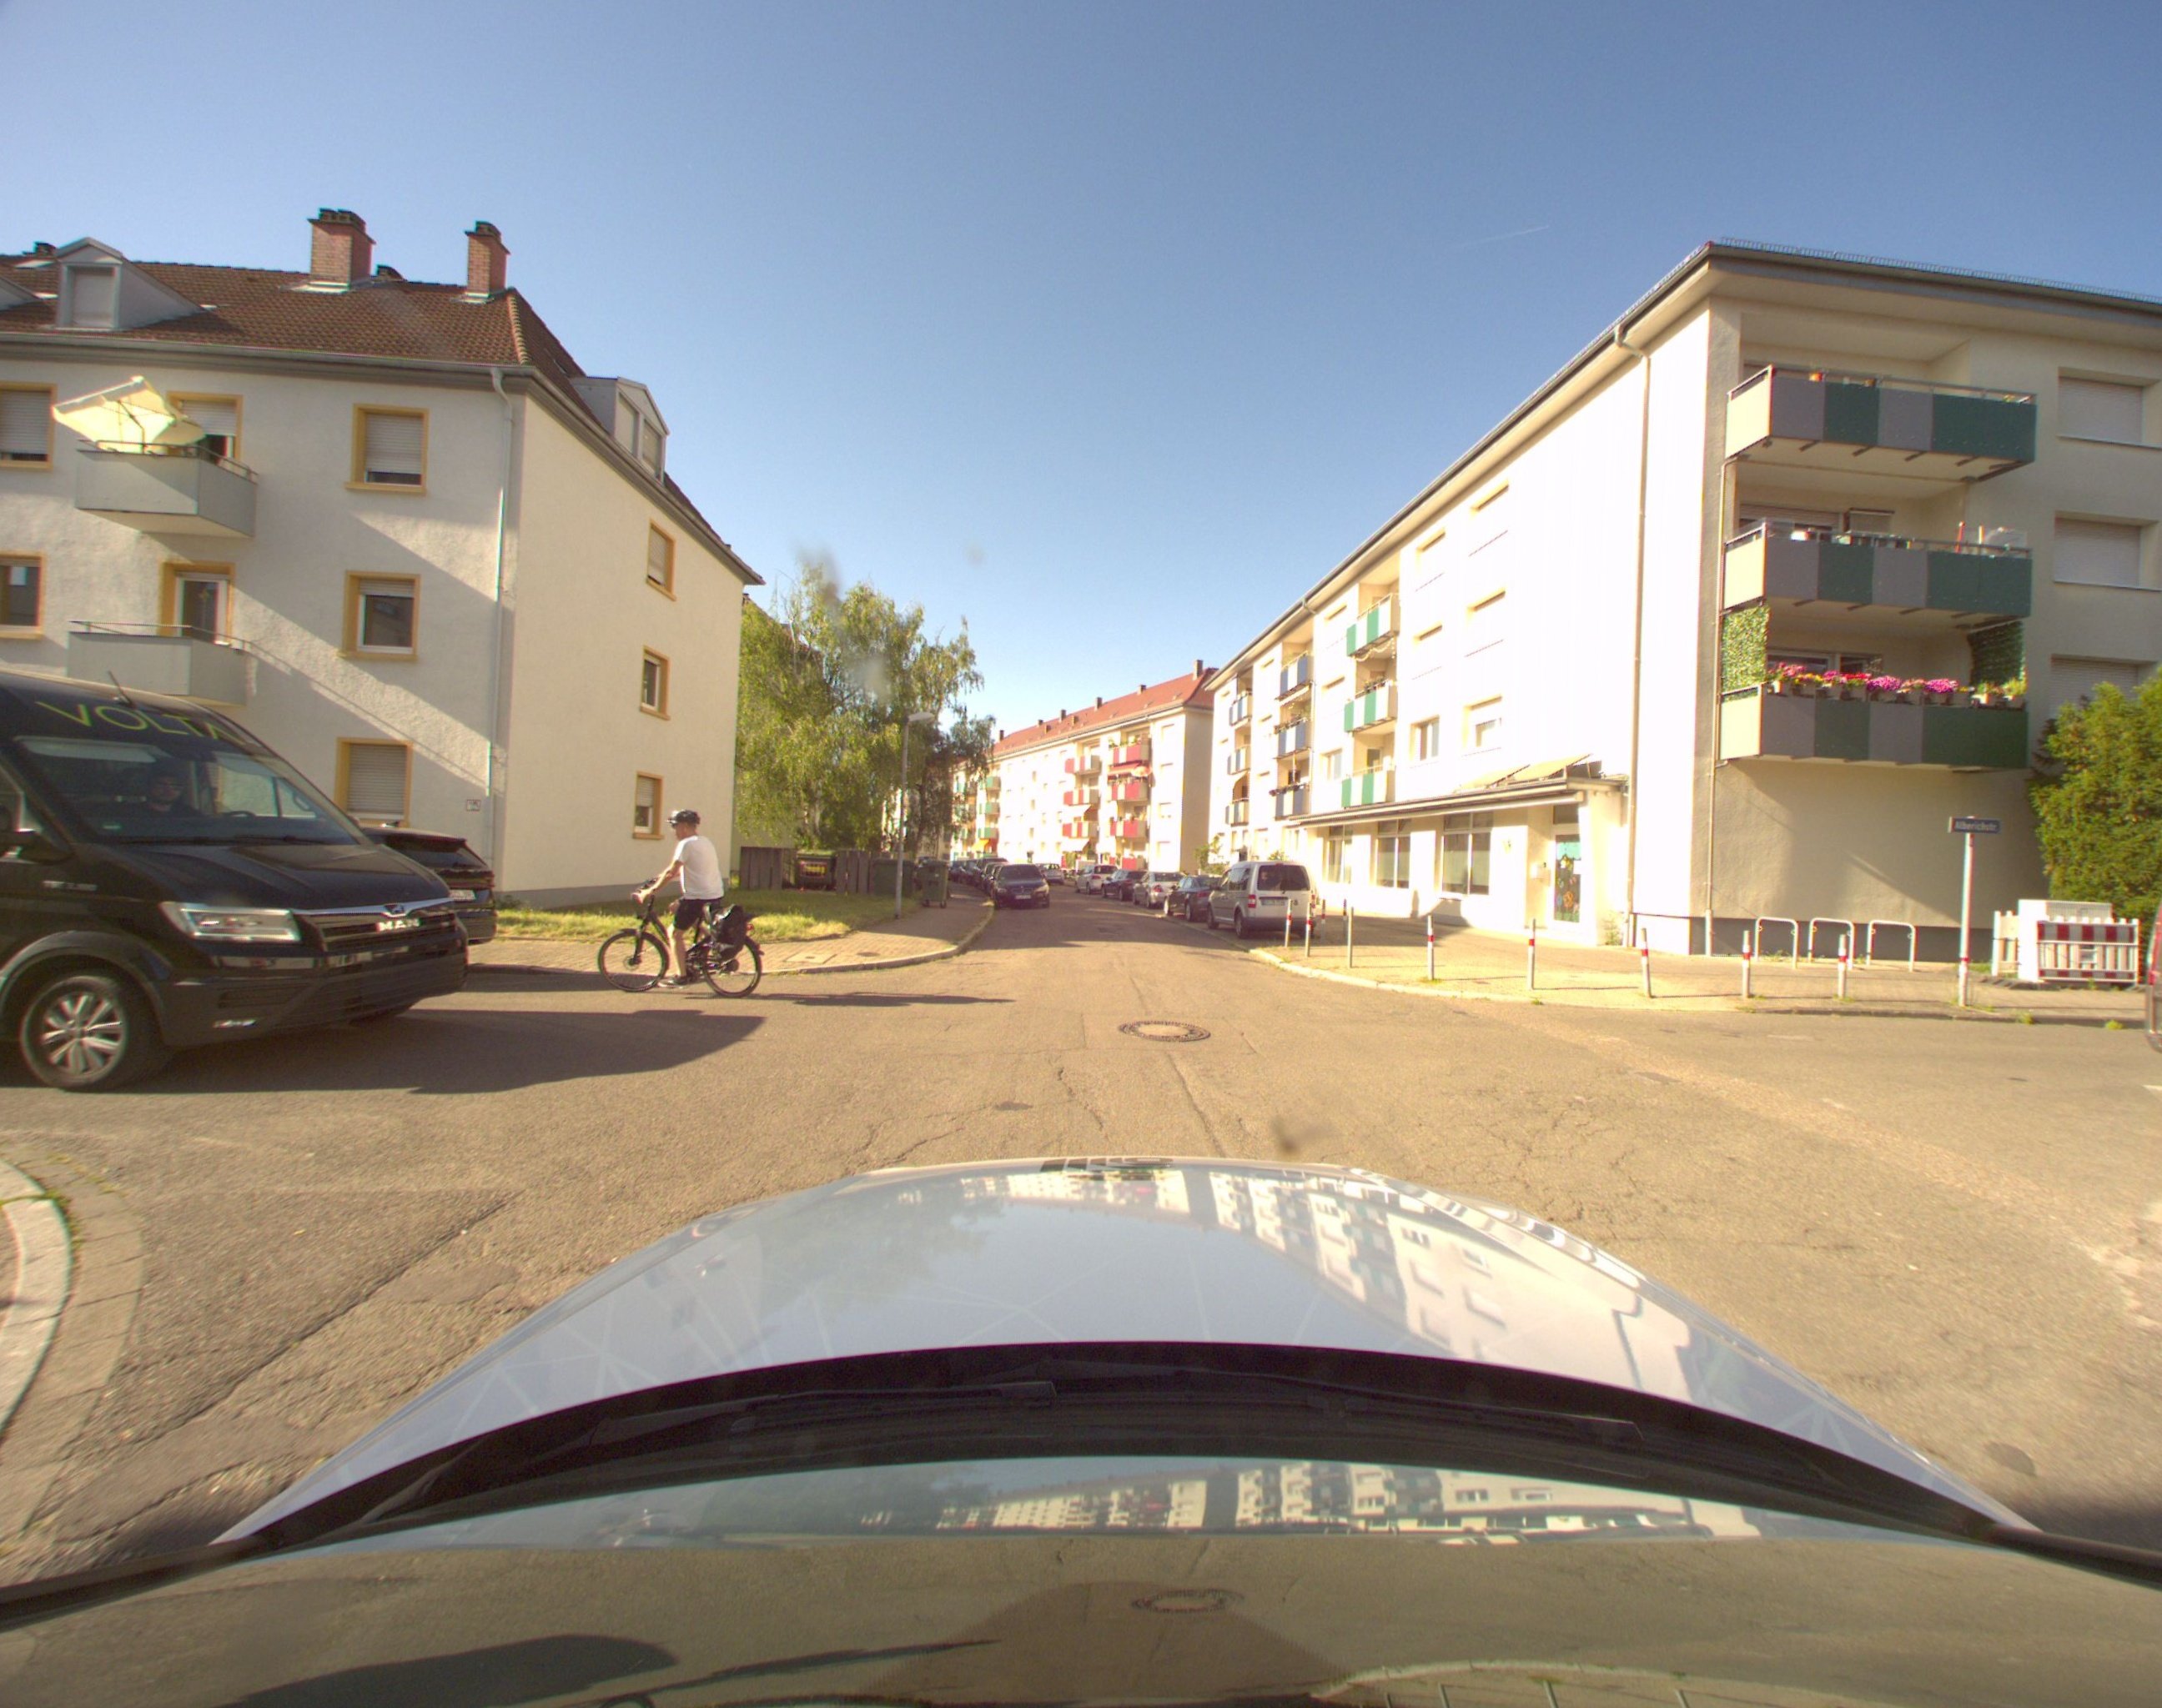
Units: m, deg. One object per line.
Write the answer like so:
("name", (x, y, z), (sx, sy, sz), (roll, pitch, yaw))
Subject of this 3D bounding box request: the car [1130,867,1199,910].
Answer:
("car", (3.190, 1.298, 32.107), (1.676, 1.447, 4.712), (2, 0, -7))

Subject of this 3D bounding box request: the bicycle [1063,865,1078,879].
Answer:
("bicycle", (-0.856, 1.458, 66.087), (0.620, 0.978, 1.882), (-1, 2, -23))

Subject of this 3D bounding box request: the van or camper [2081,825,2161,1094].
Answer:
("van or camper", (10.697, 0.908, 5.656), (5.109, 2.013, 1.999), (2, 1, -2))

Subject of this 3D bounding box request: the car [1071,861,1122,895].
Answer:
("car", (0.805, 1.266, 44.468), (1.696, 1.655, 4.369), (1, 0, -14))

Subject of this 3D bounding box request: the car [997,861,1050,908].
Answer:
("car", (-2.071, 0.993, 28.388), (1.676, 1.453, 4.610), (-1, 0, -6))

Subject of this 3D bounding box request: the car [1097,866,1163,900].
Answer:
("car", (2.202, 1.308, 37.892), (1.696, 1.431, 4.664), (1, -1, -14))

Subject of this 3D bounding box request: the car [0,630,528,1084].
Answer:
("car", (-7.523, -0.041, 5.551), (5.926, 2.545, 1.998), (2, 0, -3))

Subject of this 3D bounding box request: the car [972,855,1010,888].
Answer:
("car", (-4.982, 0.908, 44.728), (1.557, 1.714, 4.317), (-1, 0, -13))

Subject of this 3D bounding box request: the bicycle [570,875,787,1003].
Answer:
("bicycle", (-3.867, 0.787, 7.870), (1.799, 1.115, 0.631), (1, -2, 10))

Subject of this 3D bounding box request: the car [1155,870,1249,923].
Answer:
("car", (3.745, 1.279, 25.945), (1.677, 1.407, 4.532), (2, 0, -8))

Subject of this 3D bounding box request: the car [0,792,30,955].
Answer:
("car", (-13.880, 0.147, 8.243), (3.980, 1.789, 1.718), (1, -2, -2))

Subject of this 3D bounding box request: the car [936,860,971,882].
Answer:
("car", (-9.287, 1.218, 59.120), (1.699, 1.389, 4.129), (2, 0, -20))

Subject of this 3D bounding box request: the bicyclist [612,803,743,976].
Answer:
("bicyclist", (-3.885, 0.327, 7.879), (0.898, 1.579, 0.599), (1, -1, 10))

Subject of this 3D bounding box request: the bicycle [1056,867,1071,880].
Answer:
("bicycle", (-1.402, 1.553, 65.364), (0.500, 1.020, 1.827), (1, 0, -23))

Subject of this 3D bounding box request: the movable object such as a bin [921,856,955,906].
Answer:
("movable object such as a bin", (-4.171, 0.771, 23.873), (0.774, 1.393, 1.415), (2, -1, -3))

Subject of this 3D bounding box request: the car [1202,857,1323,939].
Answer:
("car", (4.369, 0.989, 20.279), (1.744, 1.824, 4.123), (0, 0, -6))

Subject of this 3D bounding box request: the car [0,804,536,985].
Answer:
("car", (-8.725, 0.417, 8.725), (4.476, 1.664, 1.718), (1, -2, -2))

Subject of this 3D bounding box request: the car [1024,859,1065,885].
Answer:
("car", (-2.575, 1.201, 56.758), (1.771, 1.635, 4.014), (0, 1, -20))

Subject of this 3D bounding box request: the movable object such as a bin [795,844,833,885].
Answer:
("movable object such as a bin", (-9.555, 0.364, 29.175), (1.058, 1.435, 1.001), (0, 0, -4))

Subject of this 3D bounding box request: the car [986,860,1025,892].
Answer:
("car", (-3.646, 1.007, 38.856), (1.555, 1.442, 3.954), (-1, 0, -10))

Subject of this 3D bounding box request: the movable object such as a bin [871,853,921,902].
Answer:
("movable object such as a bin", (-5.493, 0.703, 24.253), (1.215, 1.380, 0.767), (3, -1, 1))

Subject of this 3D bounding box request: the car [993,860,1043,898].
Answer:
("car", (-2.669, 0.991, 33.571), (1.678, 1.442, 4.265), (-1, 0, -10))
